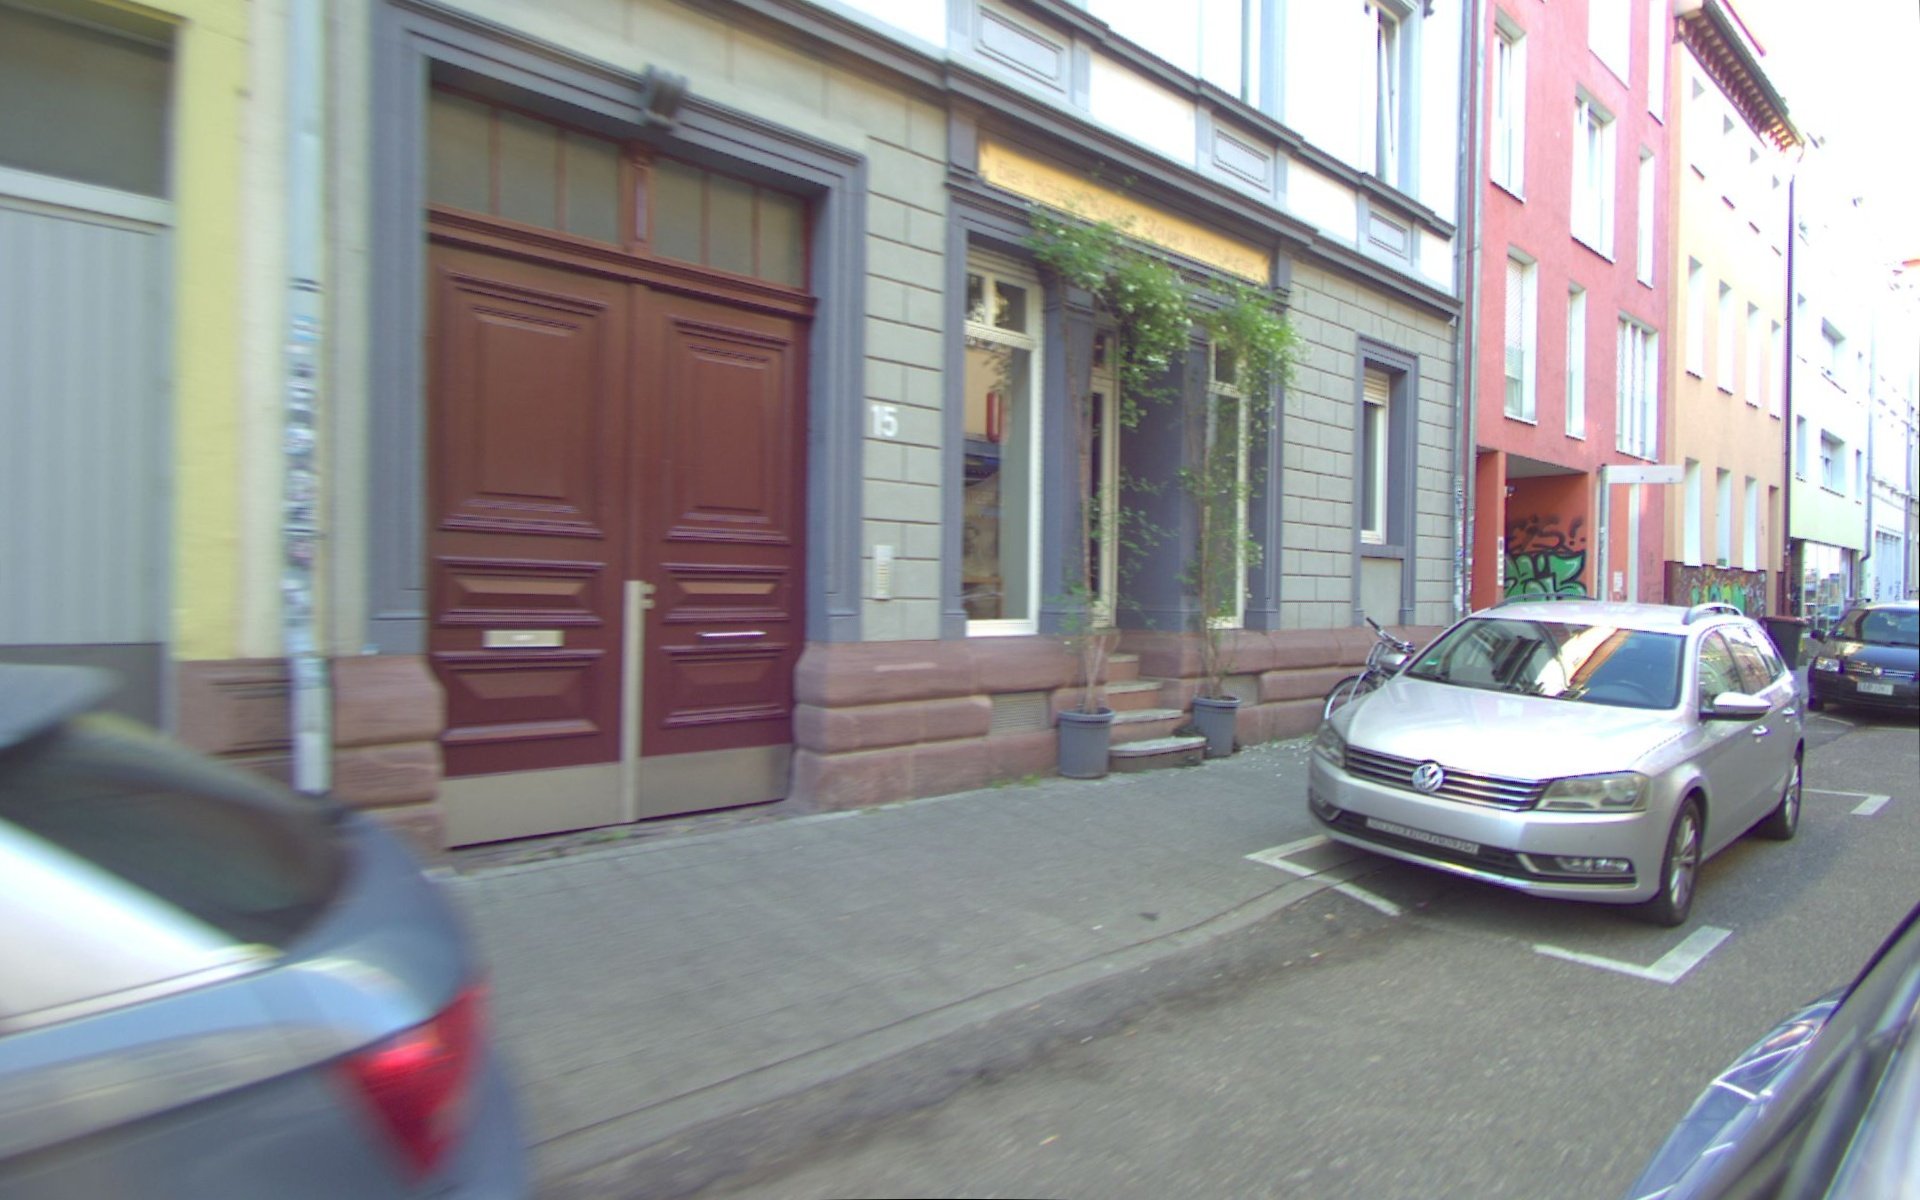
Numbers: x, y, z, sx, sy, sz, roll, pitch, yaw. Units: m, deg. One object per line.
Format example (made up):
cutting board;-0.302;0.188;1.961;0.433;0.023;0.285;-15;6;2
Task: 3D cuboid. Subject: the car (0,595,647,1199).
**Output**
car;-2.567;0.735;0.782;4.098;1.462;1.751;0;1;-40

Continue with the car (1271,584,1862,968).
car;3.995;0.715;6.297;4.467;1.471;1.790;0;4;-41

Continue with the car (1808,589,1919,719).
car;13.140;0.687;13.907;3.388;1.558;1.606;0;4;-39

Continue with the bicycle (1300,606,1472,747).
bicycle;4.004;0.653;9.439;1.869;1.110;0.711;-1;4;-43

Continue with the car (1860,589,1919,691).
car;16.687;0.642;16.975;4.096;1.575;1.750;0;1;-39

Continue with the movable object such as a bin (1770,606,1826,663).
movable object such as a bin;16.775;0.673;20.263;0.723;1.070;0.694;0;3;-39
